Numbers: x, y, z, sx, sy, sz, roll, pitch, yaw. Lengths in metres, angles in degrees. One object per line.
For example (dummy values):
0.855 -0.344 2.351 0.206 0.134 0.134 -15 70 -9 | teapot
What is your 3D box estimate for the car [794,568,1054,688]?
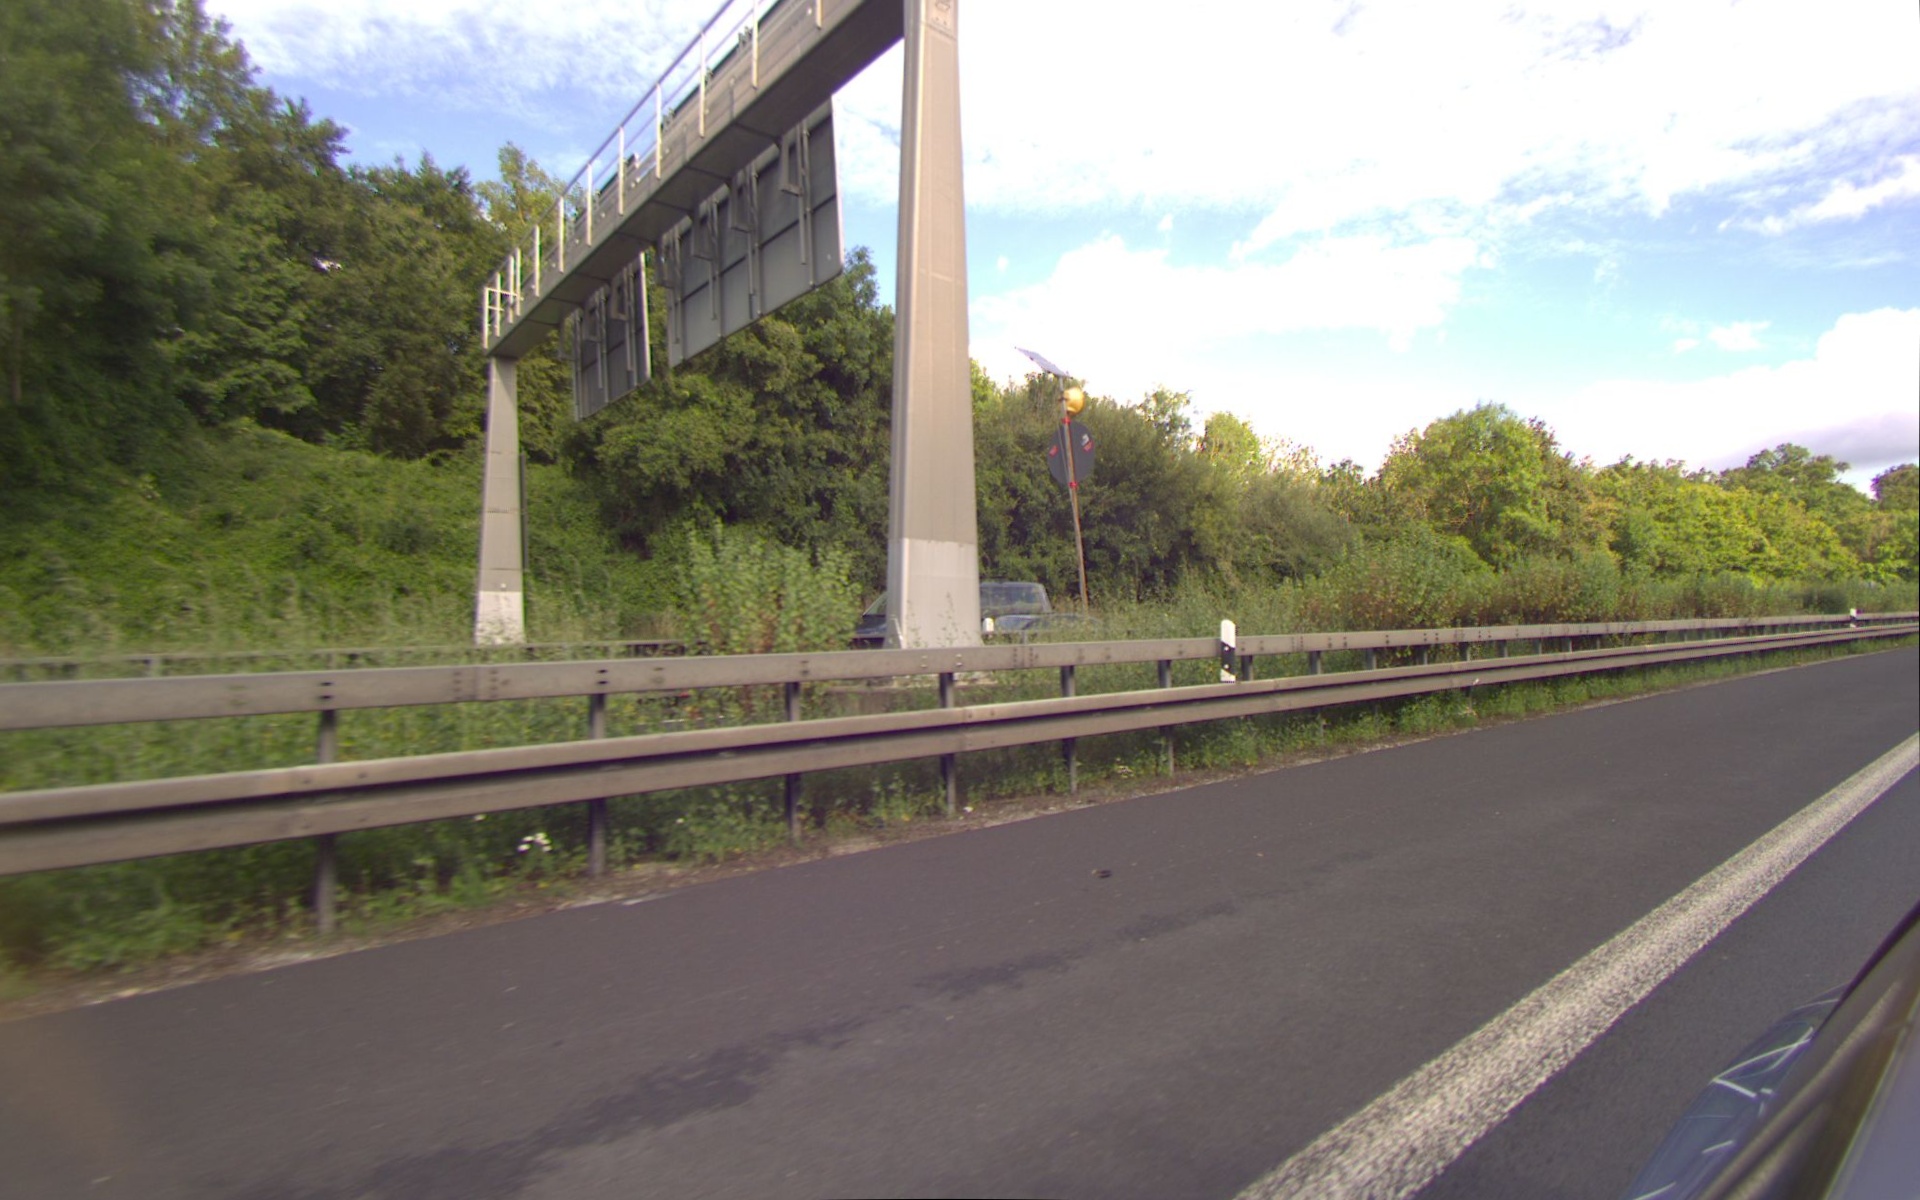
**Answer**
-0.597 0.465 19.506 4.821 2.039 1.998 0 0 -39 | car
